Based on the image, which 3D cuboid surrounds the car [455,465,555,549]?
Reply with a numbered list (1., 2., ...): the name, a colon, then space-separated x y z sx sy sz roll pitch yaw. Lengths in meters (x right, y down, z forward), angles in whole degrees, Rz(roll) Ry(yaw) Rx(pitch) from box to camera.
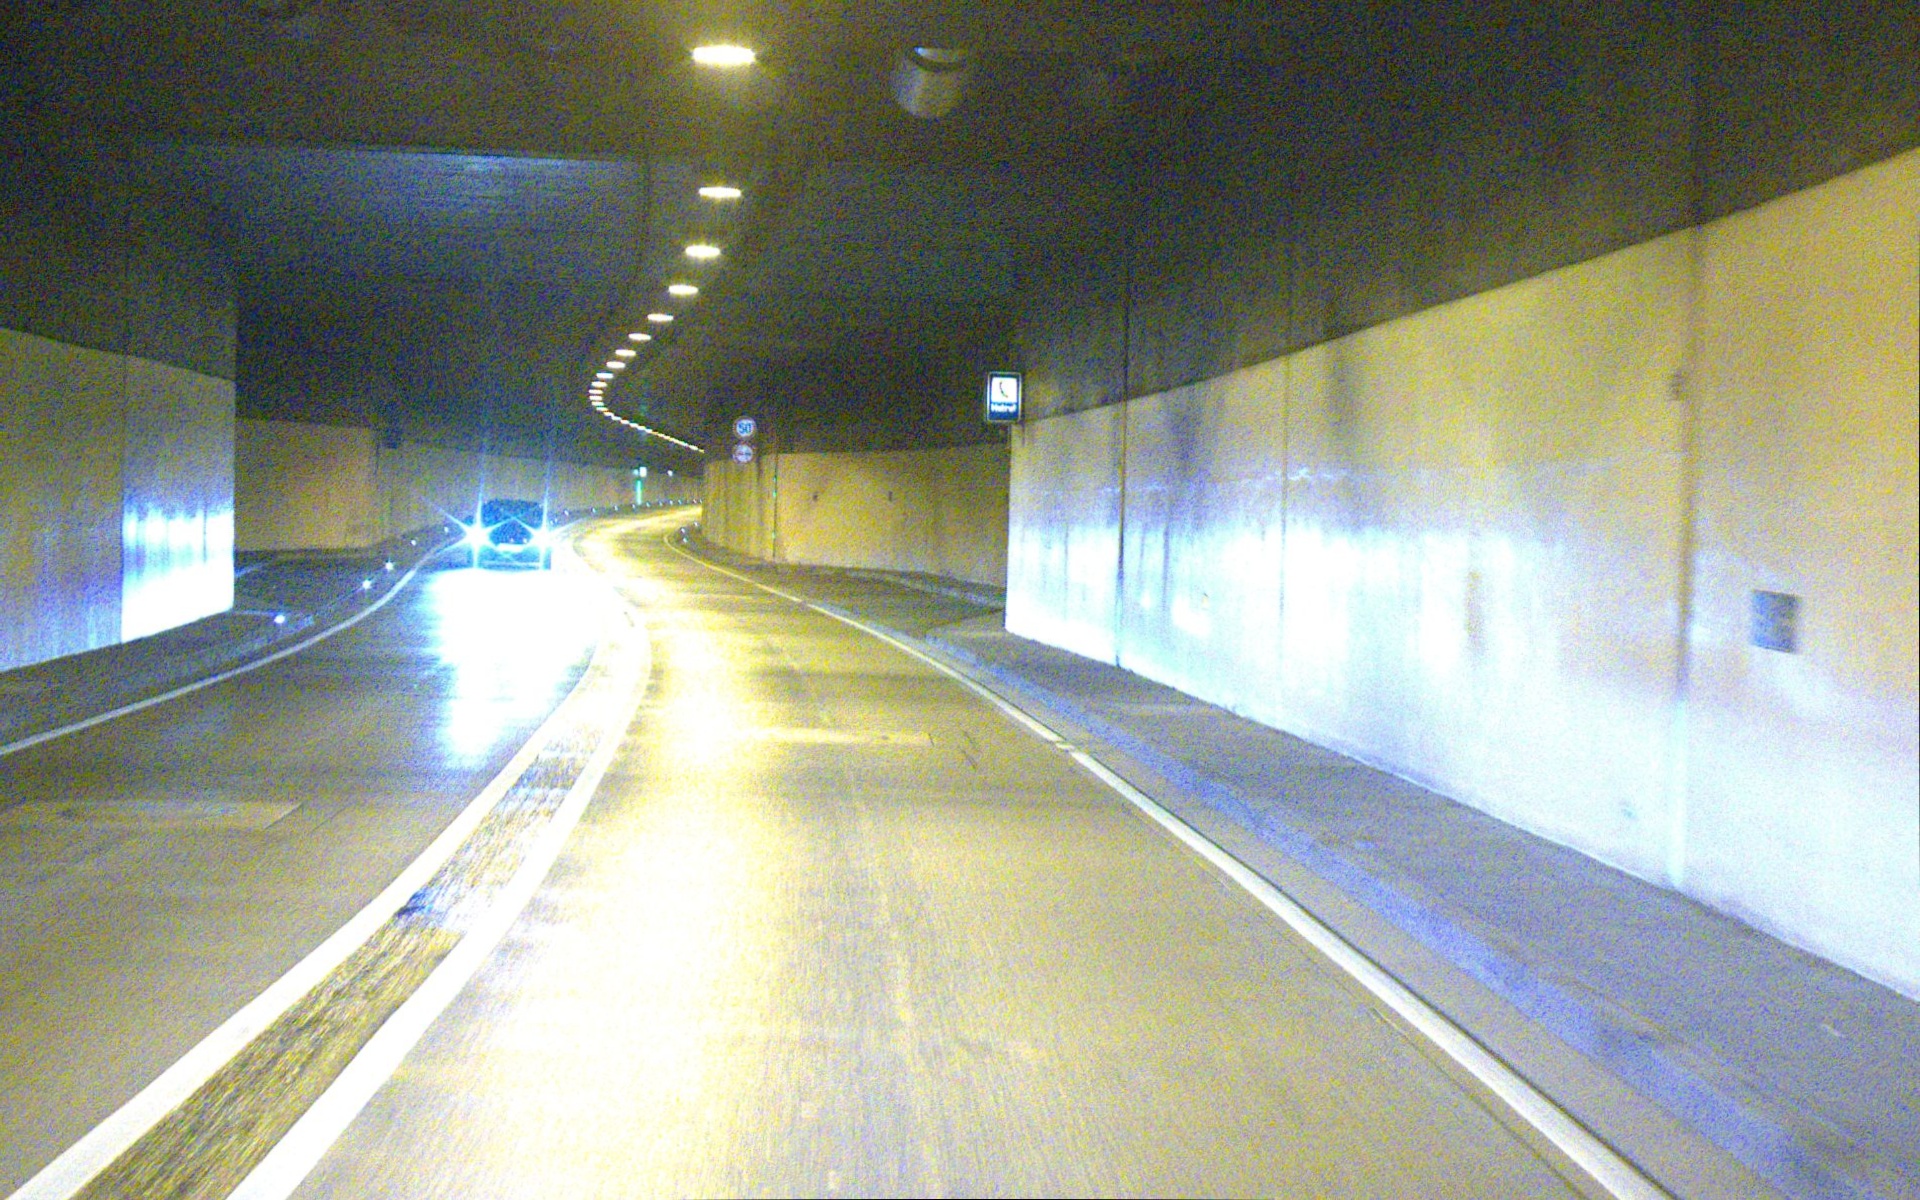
1. car: -9.695 -1.956 73.458 1.993 1.590 4.001 2 0 -7
